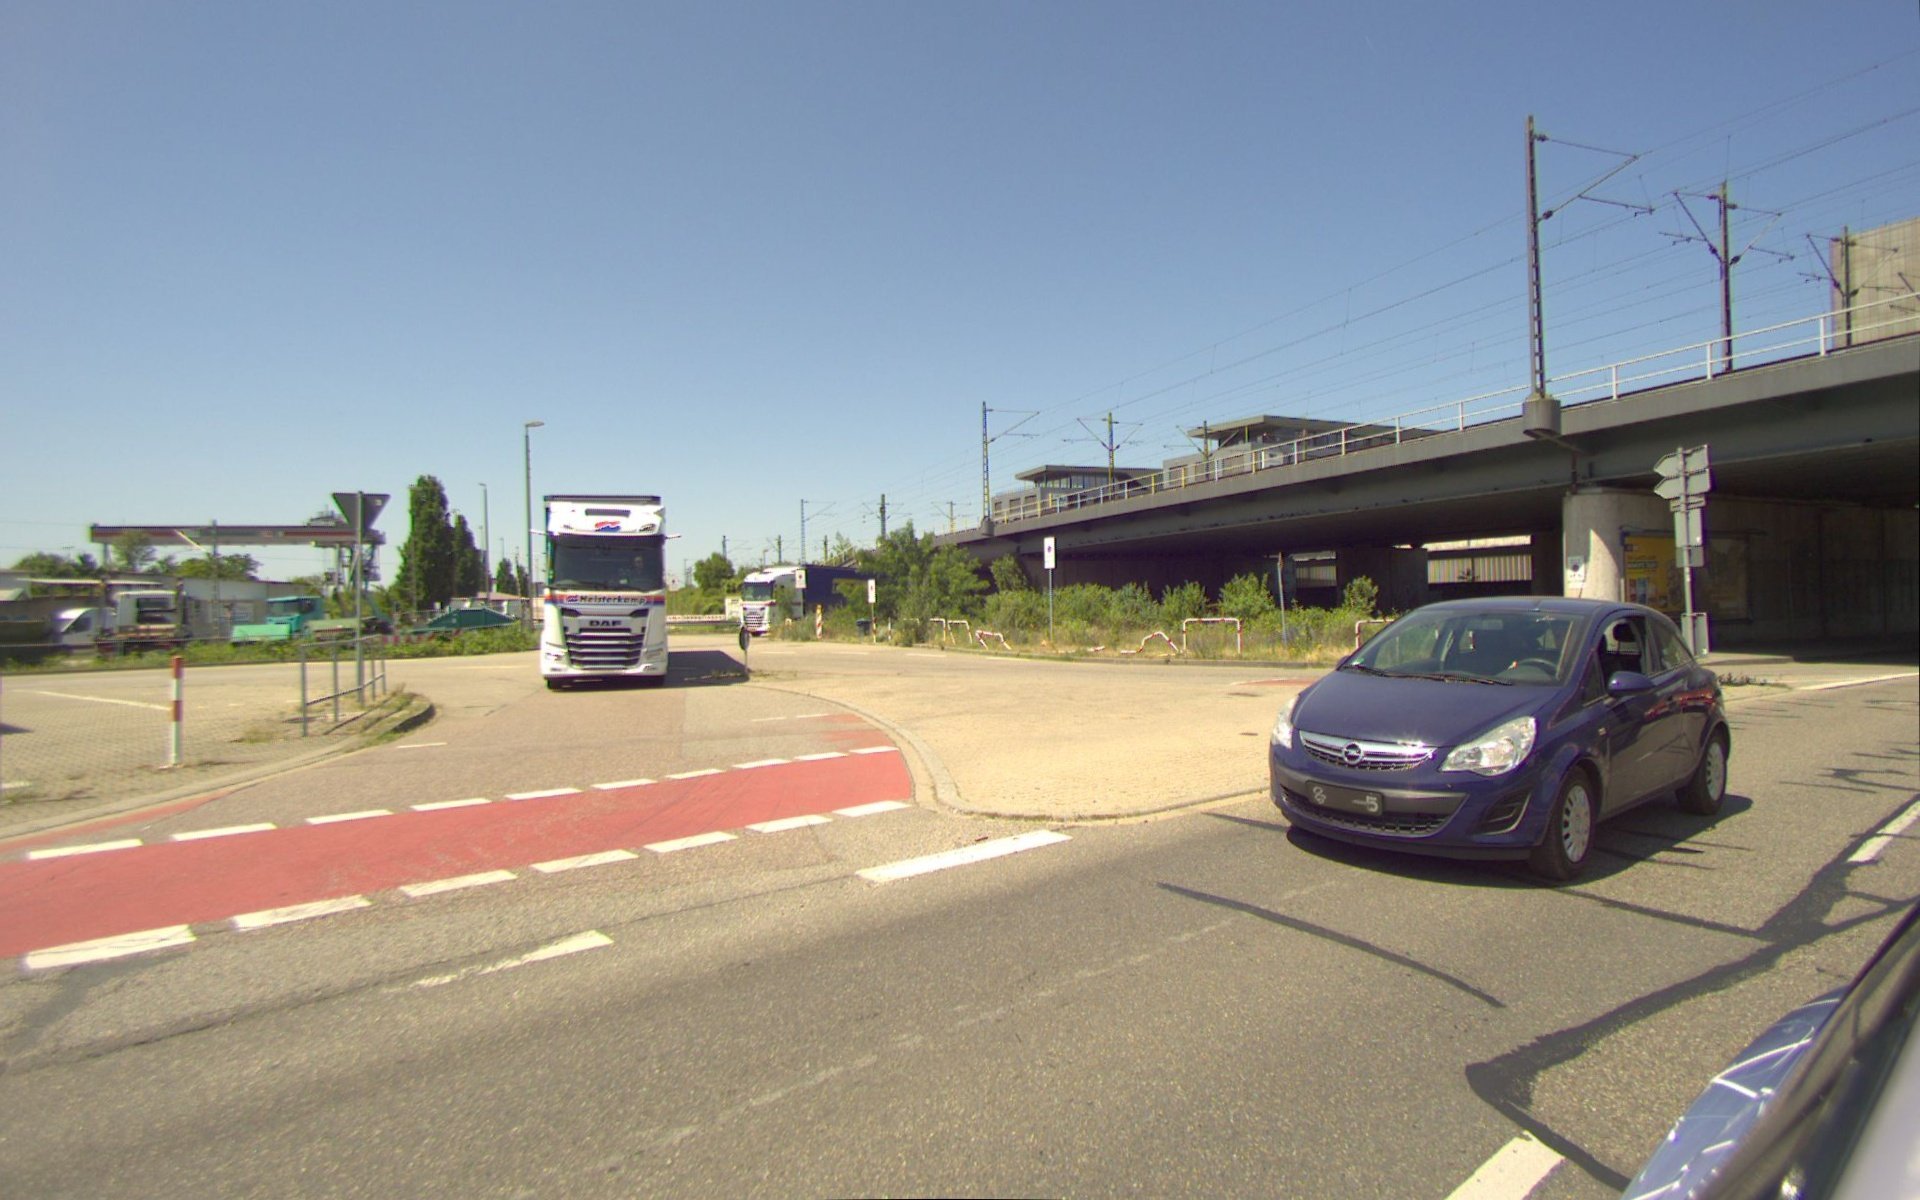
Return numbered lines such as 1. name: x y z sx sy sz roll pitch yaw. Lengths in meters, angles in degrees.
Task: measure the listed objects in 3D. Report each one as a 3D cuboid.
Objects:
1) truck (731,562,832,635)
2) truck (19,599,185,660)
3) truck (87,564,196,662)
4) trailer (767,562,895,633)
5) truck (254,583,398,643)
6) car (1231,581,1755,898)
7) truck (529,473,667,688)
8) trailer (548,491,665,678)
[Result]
1. truck: -10.494 -0.115 60.035 2.572 4.089 6.139 -1 0 31
2. truck: -43.716 1.421 51.792 2.616 2.825 6.075 -1 0 18
3. truck: -31.719 0.477 39.476 2.670 3.424 7.403 0 0 -34
4. trailer: -7.970 -0.209 64.251 2.559 4.176 9.940 -1 0 30
5. truck: -37.875 0.697 60.830 2.762 3.411 7.525 -1 0 14
6. car: 3.590 0.651 6.544 3.821 1.462 1.649 0 -1 -39
7. truck: -7.932 -0.410 22.712 2.522 4.153 5.774 -1 0 -17
8. trailer: -9.935 -0.279 29.473 2.447 4.142 13.932 -1 -1 -17
